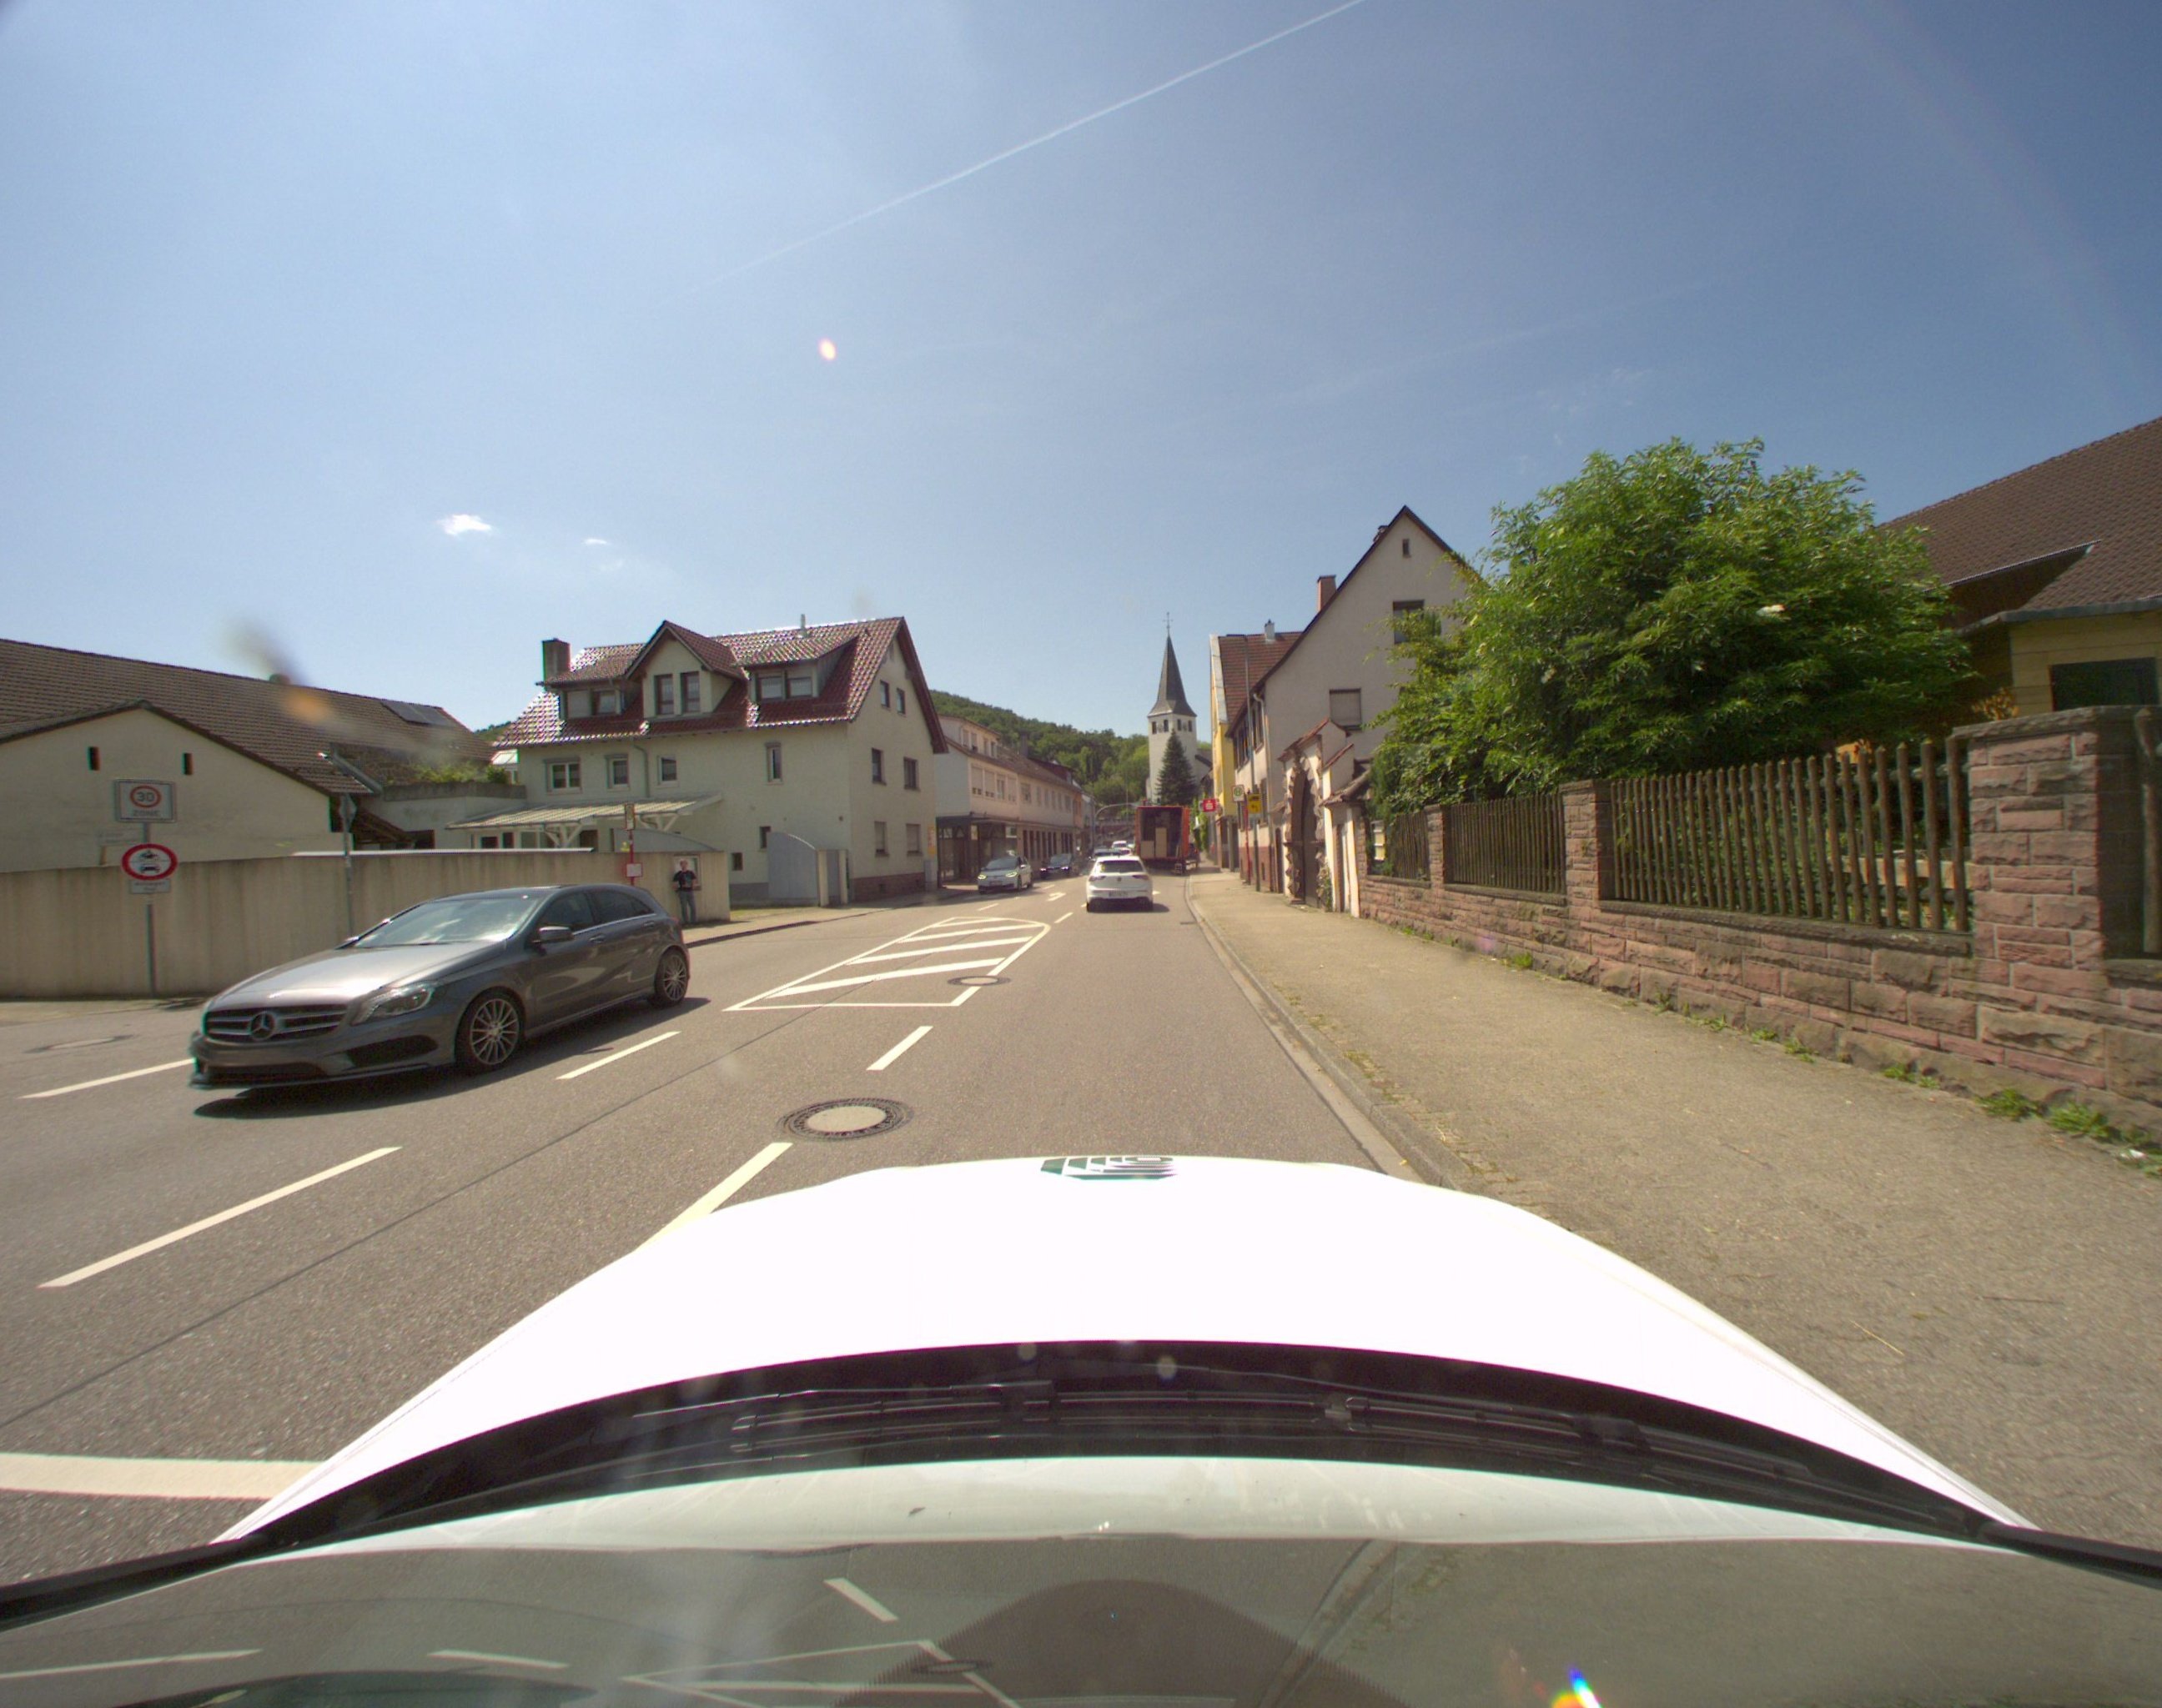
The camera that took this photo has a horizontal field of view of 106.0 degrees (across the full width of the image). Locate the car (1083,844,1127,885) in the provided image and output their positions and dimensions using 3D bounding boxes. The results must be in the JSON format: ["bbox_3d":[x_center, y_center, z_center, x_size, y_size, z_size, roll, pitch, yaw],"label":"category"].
[{"bbox_3d":[1.135,0.462,36.970,1.807,1.628,4.003,-4,-1,3],"label":"car"}]

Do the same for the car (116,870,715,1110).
[{"bbox_3d":[-5.392,0.954,7.527,1.855,1.442,4.220,-4,-1,3],"label":"car"}]

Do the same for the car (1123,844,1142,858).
[{"bbox_3d":[6.463,-0.339,102.125,1.982,1.651,4.010,-4,-1,9],"label":"car"}]

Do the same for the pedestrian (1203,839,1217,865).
[{"bbox_3d":[9.061,-0.152,57.434,0.766,1.742,0.871,-3,-1,1],"label":"pedestrian"}]

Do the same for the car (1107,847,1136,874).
[{"bbox_3d":[2.726,0.434,54.660,1.807,1.628,4.003,-4,-1,3],"label":"car"}]

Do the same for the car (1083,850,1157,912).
[{"bbox_3d":[1.089,0.692,22.426,1.807,1.519,4.003,-1,-1,3],"label":"car"}]

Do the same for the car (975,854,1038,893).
[{"bbox_3d":[-3.224,0.819,36.047,1.786,1.508,4.142,-4,-1,7],"label":"car"}]

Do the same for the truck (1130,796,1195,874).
[{"bbox_3d":[5.020,-1.036,50.183,3.351,4.170,9.533,-4,-1,5],"label":"truck"}]

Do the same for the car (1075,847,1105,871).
[{"bbox_3d":[0.764,0.381,67.583,1.680,1.698,4.125,-3,1,11],"label":"car"}]

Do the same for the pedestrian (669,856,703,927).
[{"bbox_3d":[-10.078,0.952,20.767,0.430,1.764,0.560,-3,0,22],"label":"pedestrian"}]

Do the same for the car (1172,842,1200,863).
[{"bbox_3d":[8.330,-0.129,64.877,1.807,1.519,4.003,-4,-1,3],"label":"car"}]

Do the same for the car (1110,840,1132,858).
[{"bbox_3d":[4.350,-0.515,88.229,1.791,1.779,4.717,-4,0,9],"label":"car"}]

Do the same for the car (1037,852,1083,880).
[{"bbox_3d":[-1.183,0.693,48.965,1.782,1.493,4.434,-4,-1,11],"label":"car"}]
